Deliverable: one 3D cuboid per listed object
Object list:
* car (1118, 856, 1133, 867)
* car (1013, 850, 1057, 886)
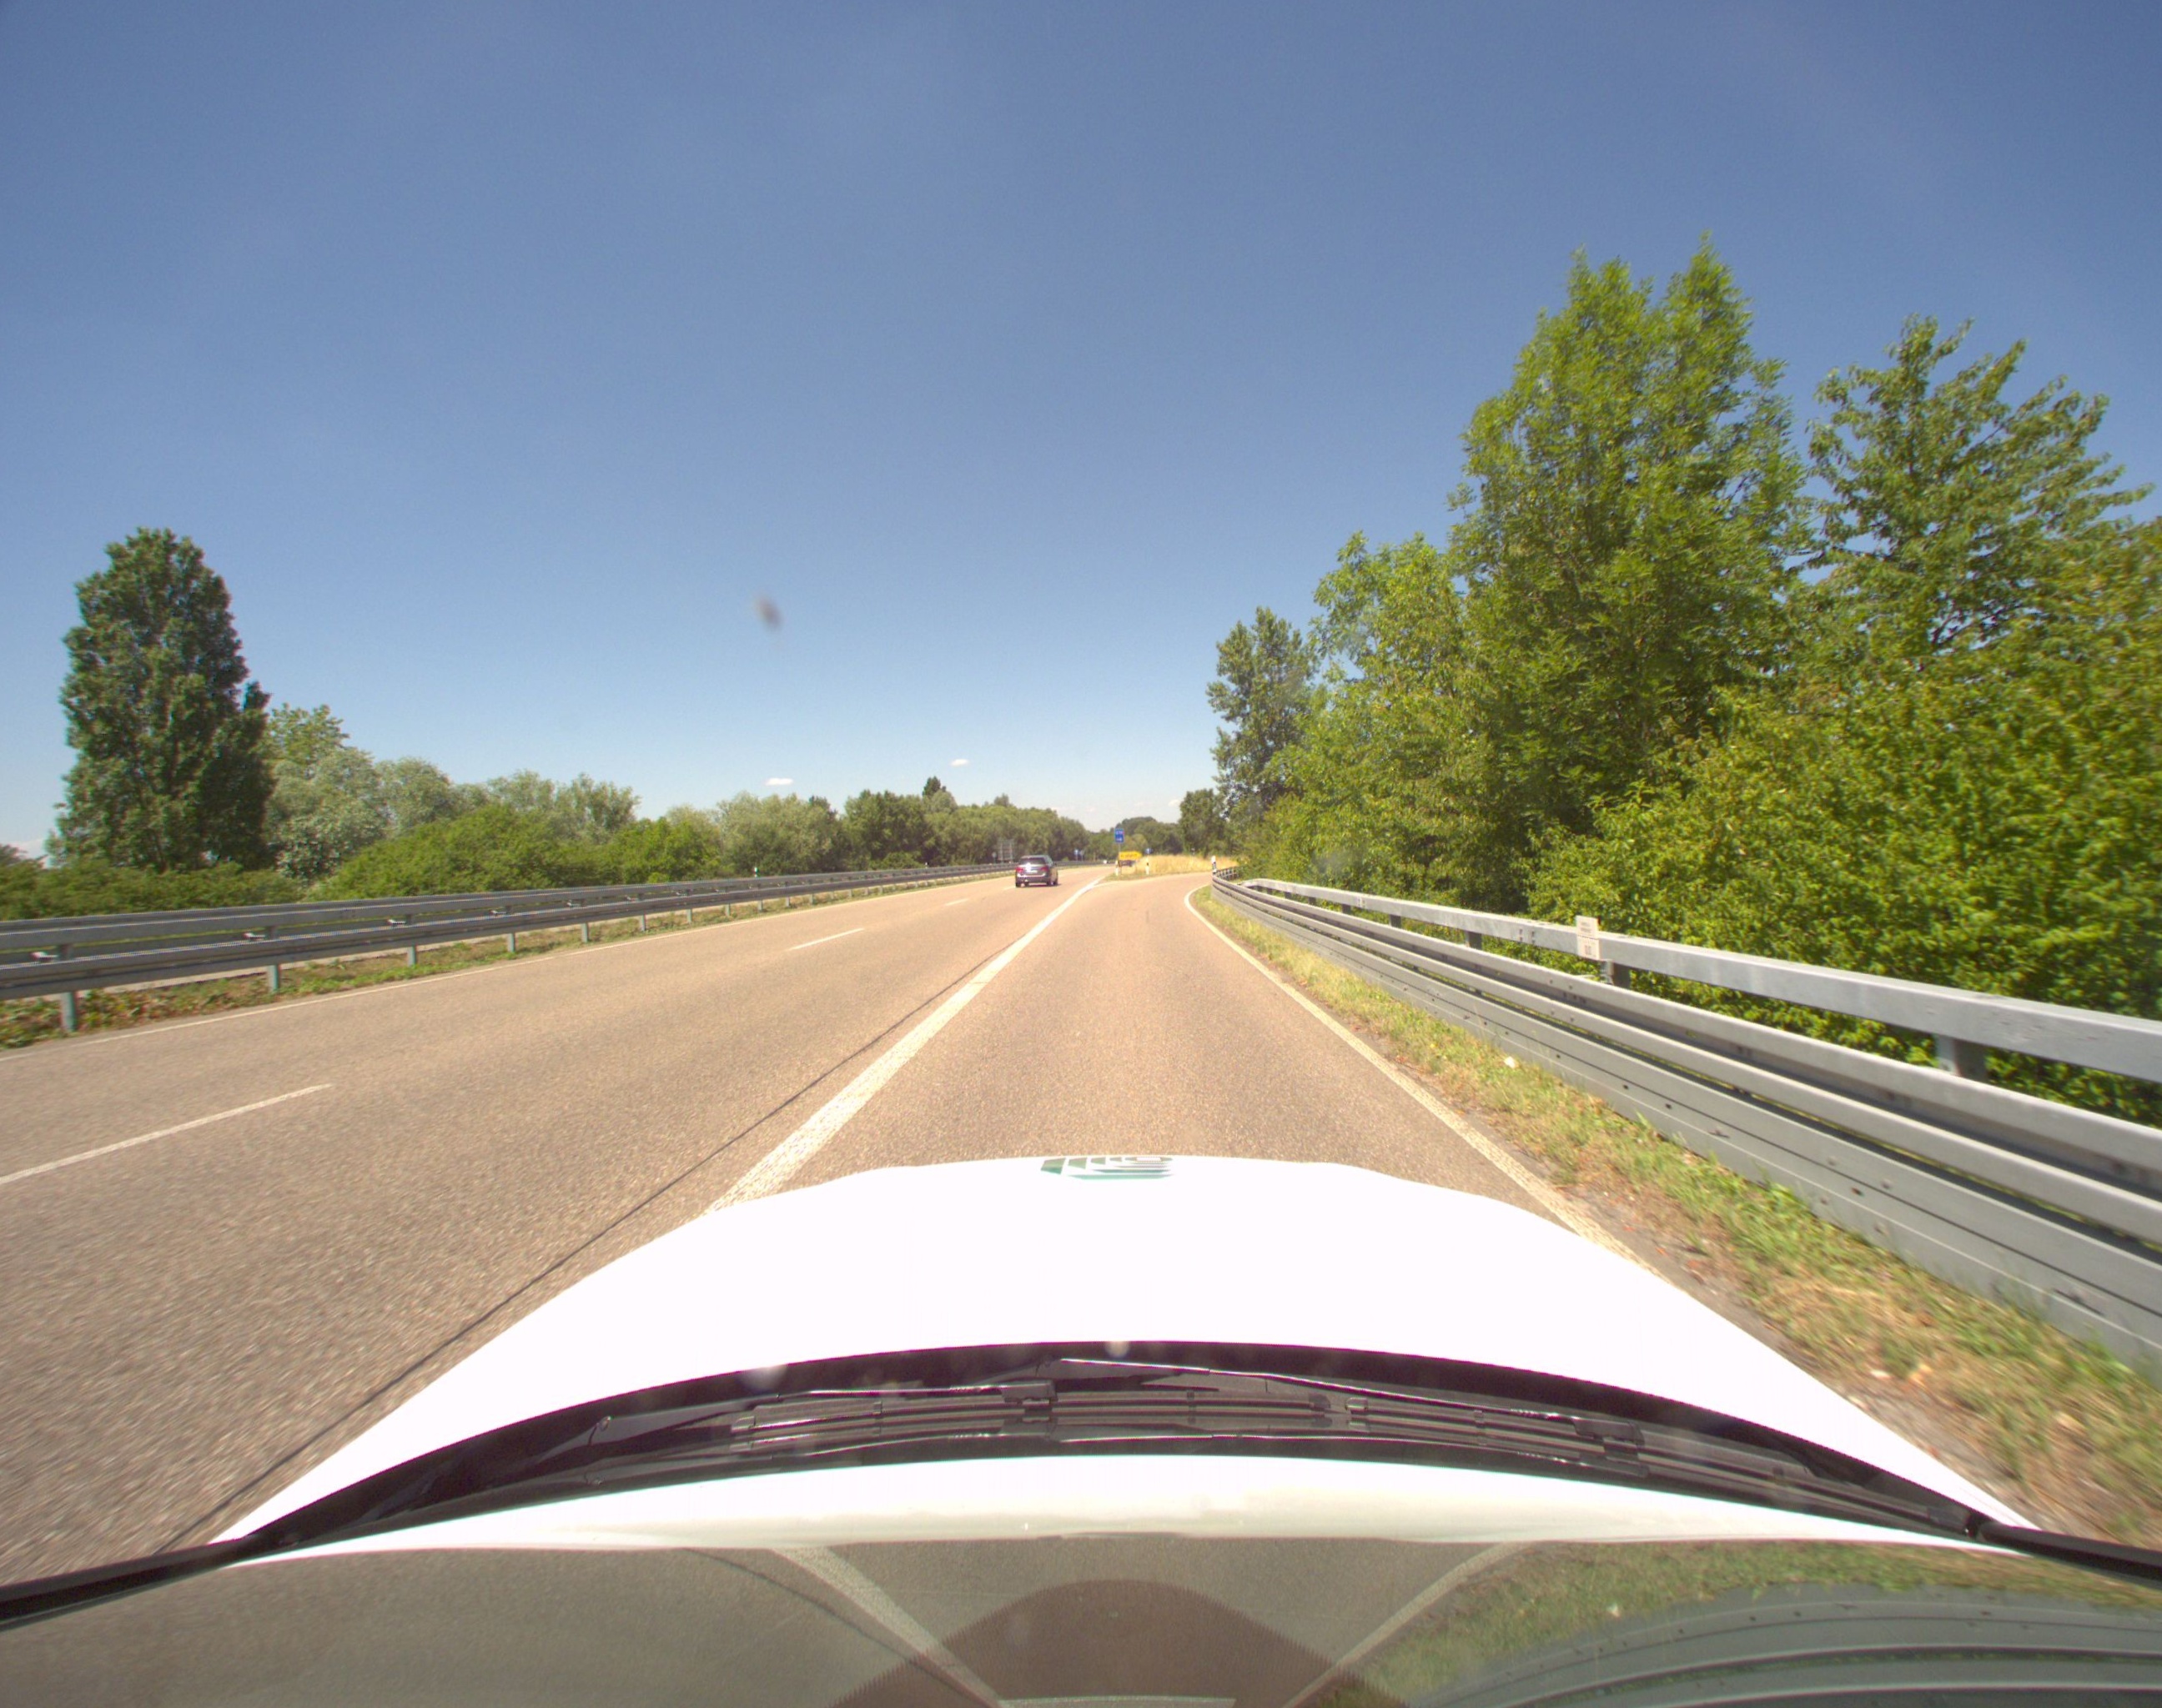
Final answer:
[{"bbox_3d":[6.499,1.050,119.569,1.831,1.529,4.480,-1,1,8],"label":"car"},{"bbox_3d":[-2.271,0.667,41.560,1.786,1.667,4.558,0,1,2],"label":"car"}]
